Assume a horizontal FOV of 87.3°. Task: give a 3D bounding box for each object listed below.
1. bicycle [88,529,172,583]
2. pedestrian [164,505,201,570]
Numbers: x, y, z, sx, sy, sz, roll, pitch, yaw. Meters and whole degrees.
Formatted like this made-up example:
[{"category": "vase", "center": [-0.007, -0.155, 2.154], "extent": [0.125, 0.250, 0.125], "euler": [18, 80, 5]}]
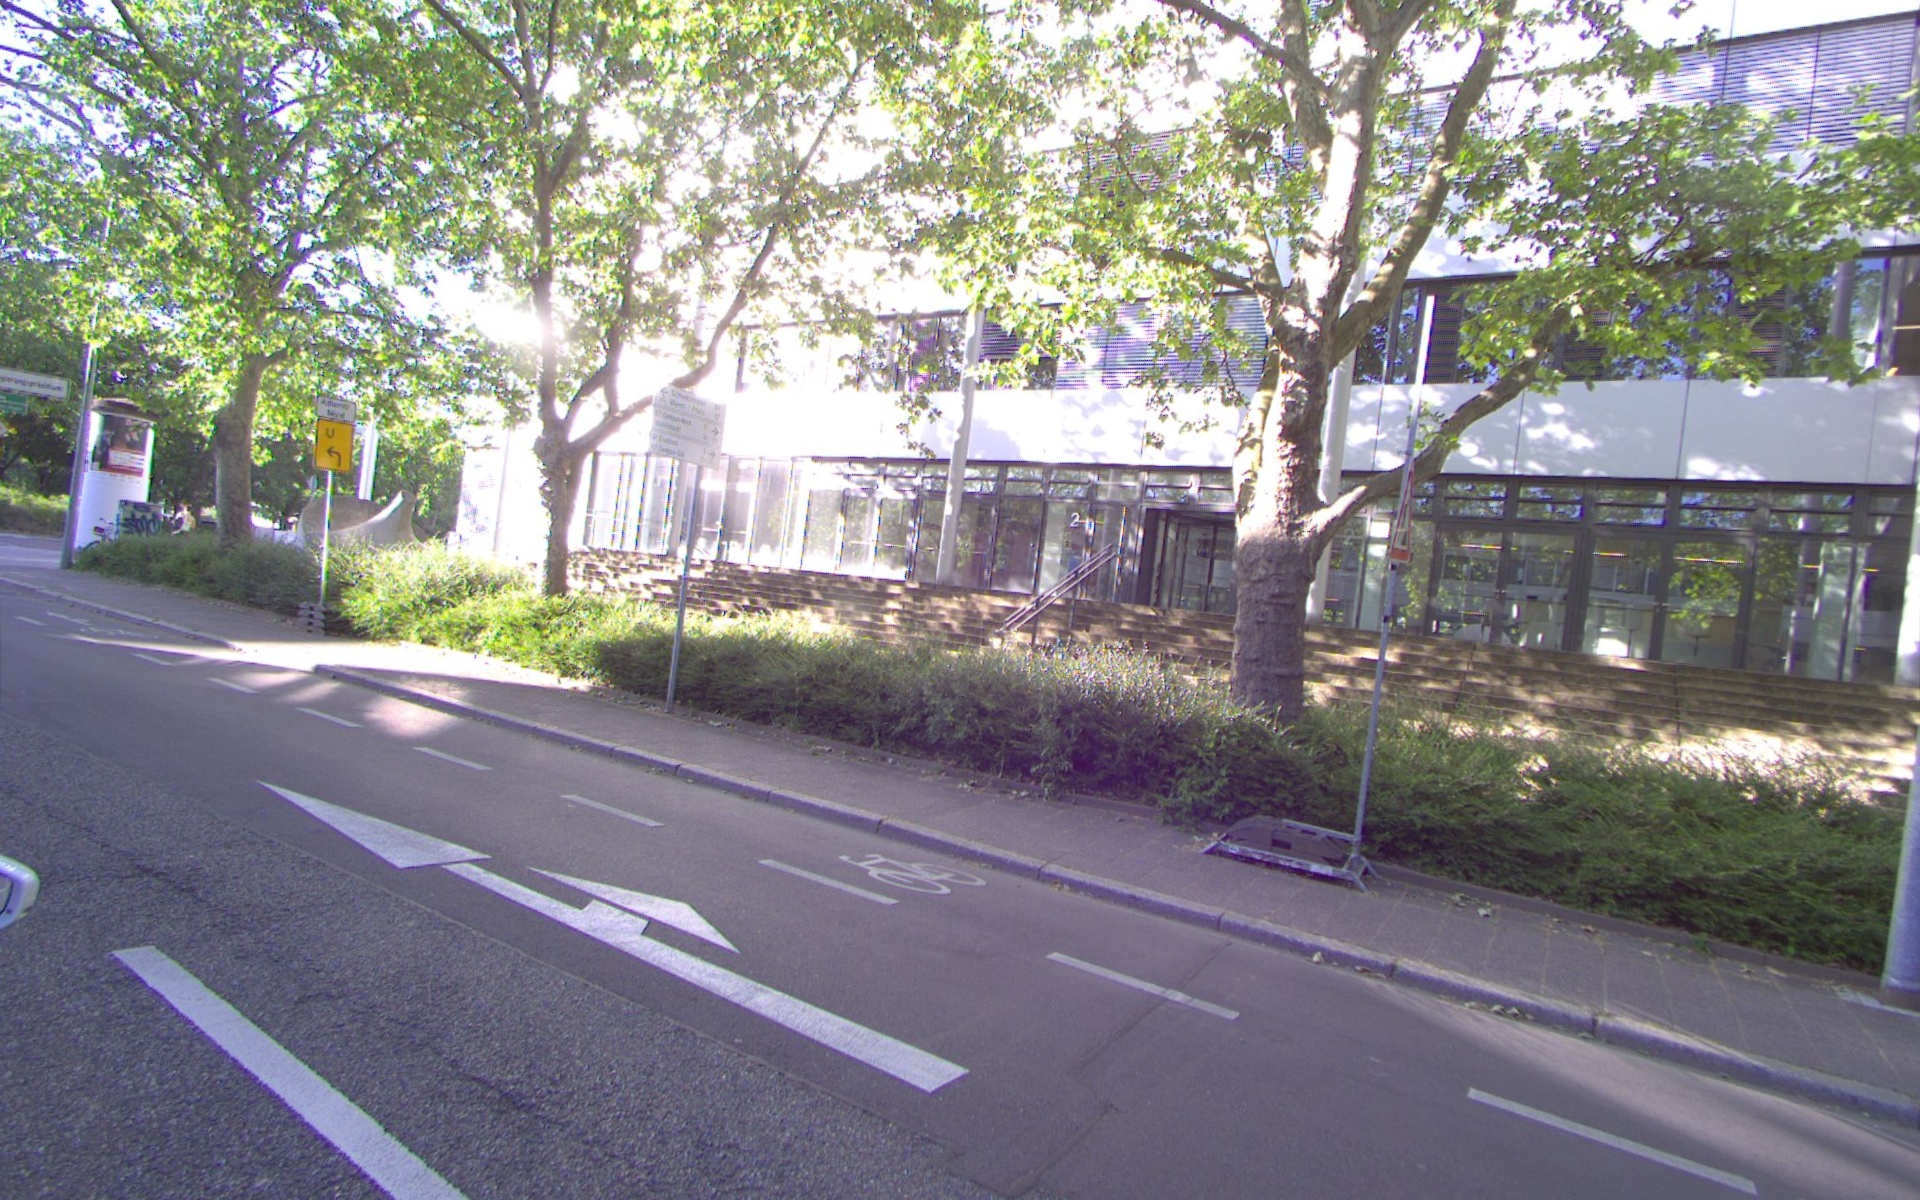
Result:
[{"category": "bicycle", "center": [-19.079, -0.998, 23.143], "extent": [0.357, 1.036, 1.354], "euler": [7, -1, 33]}, {"category": "pedestrian", "center": [-23.604, -1.905, 30.551], "extent": [0.584, 1.871, 0.552], "euler": [7, 0, 33]}]
